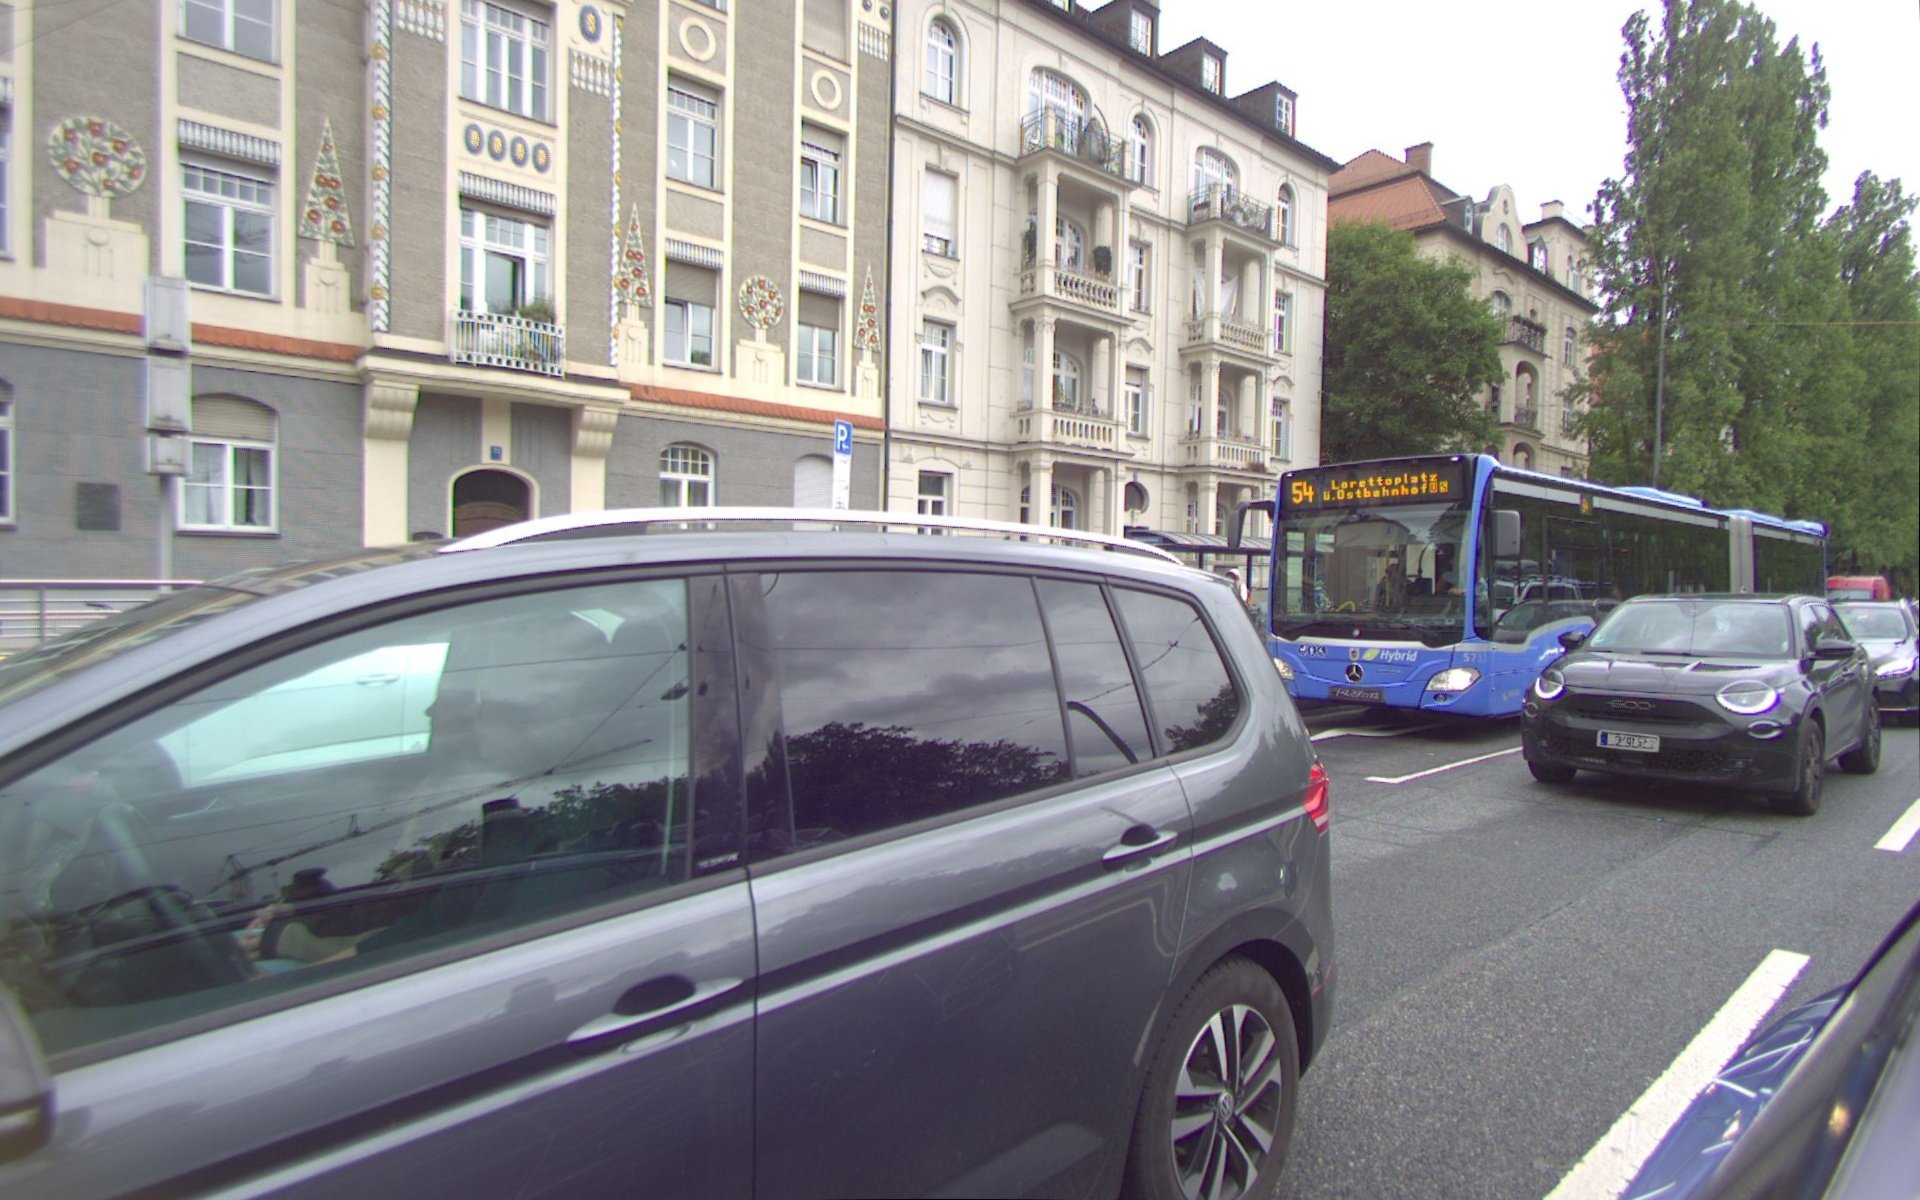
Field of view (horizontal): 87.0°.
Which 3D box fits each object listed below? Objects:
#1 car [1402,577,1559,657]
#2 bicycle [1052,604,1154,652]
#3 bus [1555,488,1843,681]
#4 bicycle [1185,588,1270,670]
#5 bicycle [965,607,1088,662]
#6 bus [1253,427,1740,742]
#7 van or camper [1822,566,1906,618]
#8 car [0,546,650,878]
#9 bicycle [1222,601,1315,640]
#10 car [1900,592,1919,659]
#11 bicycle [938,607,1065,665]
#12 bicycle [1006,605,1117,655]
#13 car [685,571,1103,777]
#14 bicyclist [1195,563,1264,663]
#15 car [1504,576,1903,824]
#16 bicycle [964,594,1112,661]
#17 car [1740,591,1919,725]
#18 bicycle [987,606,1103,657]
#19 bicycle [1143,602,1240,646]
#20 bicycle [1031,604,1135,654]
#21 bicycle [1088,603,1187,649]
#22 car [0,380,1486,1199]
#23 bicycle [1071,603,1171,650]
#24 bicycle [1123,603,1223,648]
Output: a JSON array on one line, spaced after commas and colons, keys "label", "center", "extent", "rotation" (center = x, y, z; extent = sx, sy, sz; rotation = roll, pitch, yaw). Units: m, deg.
[{"label": "car", "center": [11.093, 0.298, 21.478], "extent": [3.678, 1.491, 1.729], "rotation": [0, 3, -42]}, {"label": "bicycle", "center": [3.045, 0.580, 21.778], "extent": [0.629, 0.932, 2.320], "rotation": [-1, 1, -43]}, {"label": "bus", "center": [14.491, -0.275, 19.501], "extent": [8.383, 3.011, 2.635], "rotation": [0, 0, -41]}, {"label": "bicycle", "center": [4.550, 0.465, 17.152], "extent": [1.747, 1.304, 0.424], "rotation": [-1, 2, -40]}, {"label": "bicycle", "center": [1.205, 0.616, 18.823], "extent": [2.307, 0.932, 0.580], "rotation": [1, 1, 33]}, {"label": "bus", "center": [7.766, -0.189, 13.729], "extent": [9.299, 3.011, 2.635], "rotation": [0, 0, -41]}, {"label": "van or camper", "center": [39.557, -0.366, 44.241], "extent": [5.419, 2.124, 2.122], "rotation": [0, 2, -42]}, {"label": "car", "center": [-4.173, 0.503, 6.362], "extent": [3.895, 1.596, 1.731], "rotation": [0, 3, -39]}, {"label": "bicycle", "center": [7.991, 0.515, 26.314], "extent": [0.590, 0.932, 2.320], "rotation": [-1, 1, -43]}, {"label": "car", "center": [21.667, 0.571, 21.780], "extent": [3.569, 1.385, 1.703], "rotation": [0, 3, -41]}, {"label": "bicycle", "center": [0.719, 0.625, 18.086], "extent": [2.307, 0.932, 0.580], "rotation": [1, 1, 33]}, {"label": "bicycle", "center": [2.058, 0.594, 20.780], "extent": [2.312, 0.932, 0.579], "rotation": [1, 1, 38]}, {"label": "car", "center": [-0.516, 0.537, 9.633], "extent": [3.678, 1.527, 1.729], "rotation": [-1, 3, -42]}, {"label": "bicyclist", "center": [4.547, 0.199, 17.086], "extent": [0.923, 1.623, 0.681], "rotation": [0, 2, -40]}, {"label": "car", "center": [6.125, 0.604, 8.174], "extent": [3.901, 1.523, 1.778], "rotation": [0, 0, -41]}, {"label": "bicycle", "center": [1.461, 0.495, 19.459], "extent": [2.899, 1.162, 0.633], "rotation": [1, 1, 33]}, {"label": "car", "center": [11.538, 0.621, 12.919], "extent": [4.171, 1.451, 1.702], "rotation": [0, 0, -41]}, {"label": "bicycle", "center": [1.662, 0.602, 20.117], "extent": [2.307, 0.932, 0.580], "rotation": [1, 1, 33]}, {"label": "bicycle", "center": [5.464, 0.549, 24.037], "extent": [0.629, 0.932, 2.320], "rotation": [-1, 1, -43]}, {"label": "bicycle", "center": [2.561, 0.587, 21.271], "extent": [0.629, 0.932, 2.320], "rotation": [-1, 1, -43]}, {"label": "bicycle", "center": [4.013, 0.564, 23.022], "extent": [0.629, 0.932, 2.320], "rotation": [-1, 1, -43]}, {"label": "car", "center": [-0.827, 0.584, 2.170], "extent": [4.624, 1.667, 1.776], "rotation": [0, 3, -40]}, {"label": "bicycle", "center": [3.545, 0.572, 22.479], "extent": [0.629, 0.932, 2.320], "rotation": [-1, 1, -43]}, {"label": "bicycle", "center": [4.893, 0.557, 23.383], "extent": [0.629, 0.932, 2.320], "rotation": [-1, 1, -43]}]
